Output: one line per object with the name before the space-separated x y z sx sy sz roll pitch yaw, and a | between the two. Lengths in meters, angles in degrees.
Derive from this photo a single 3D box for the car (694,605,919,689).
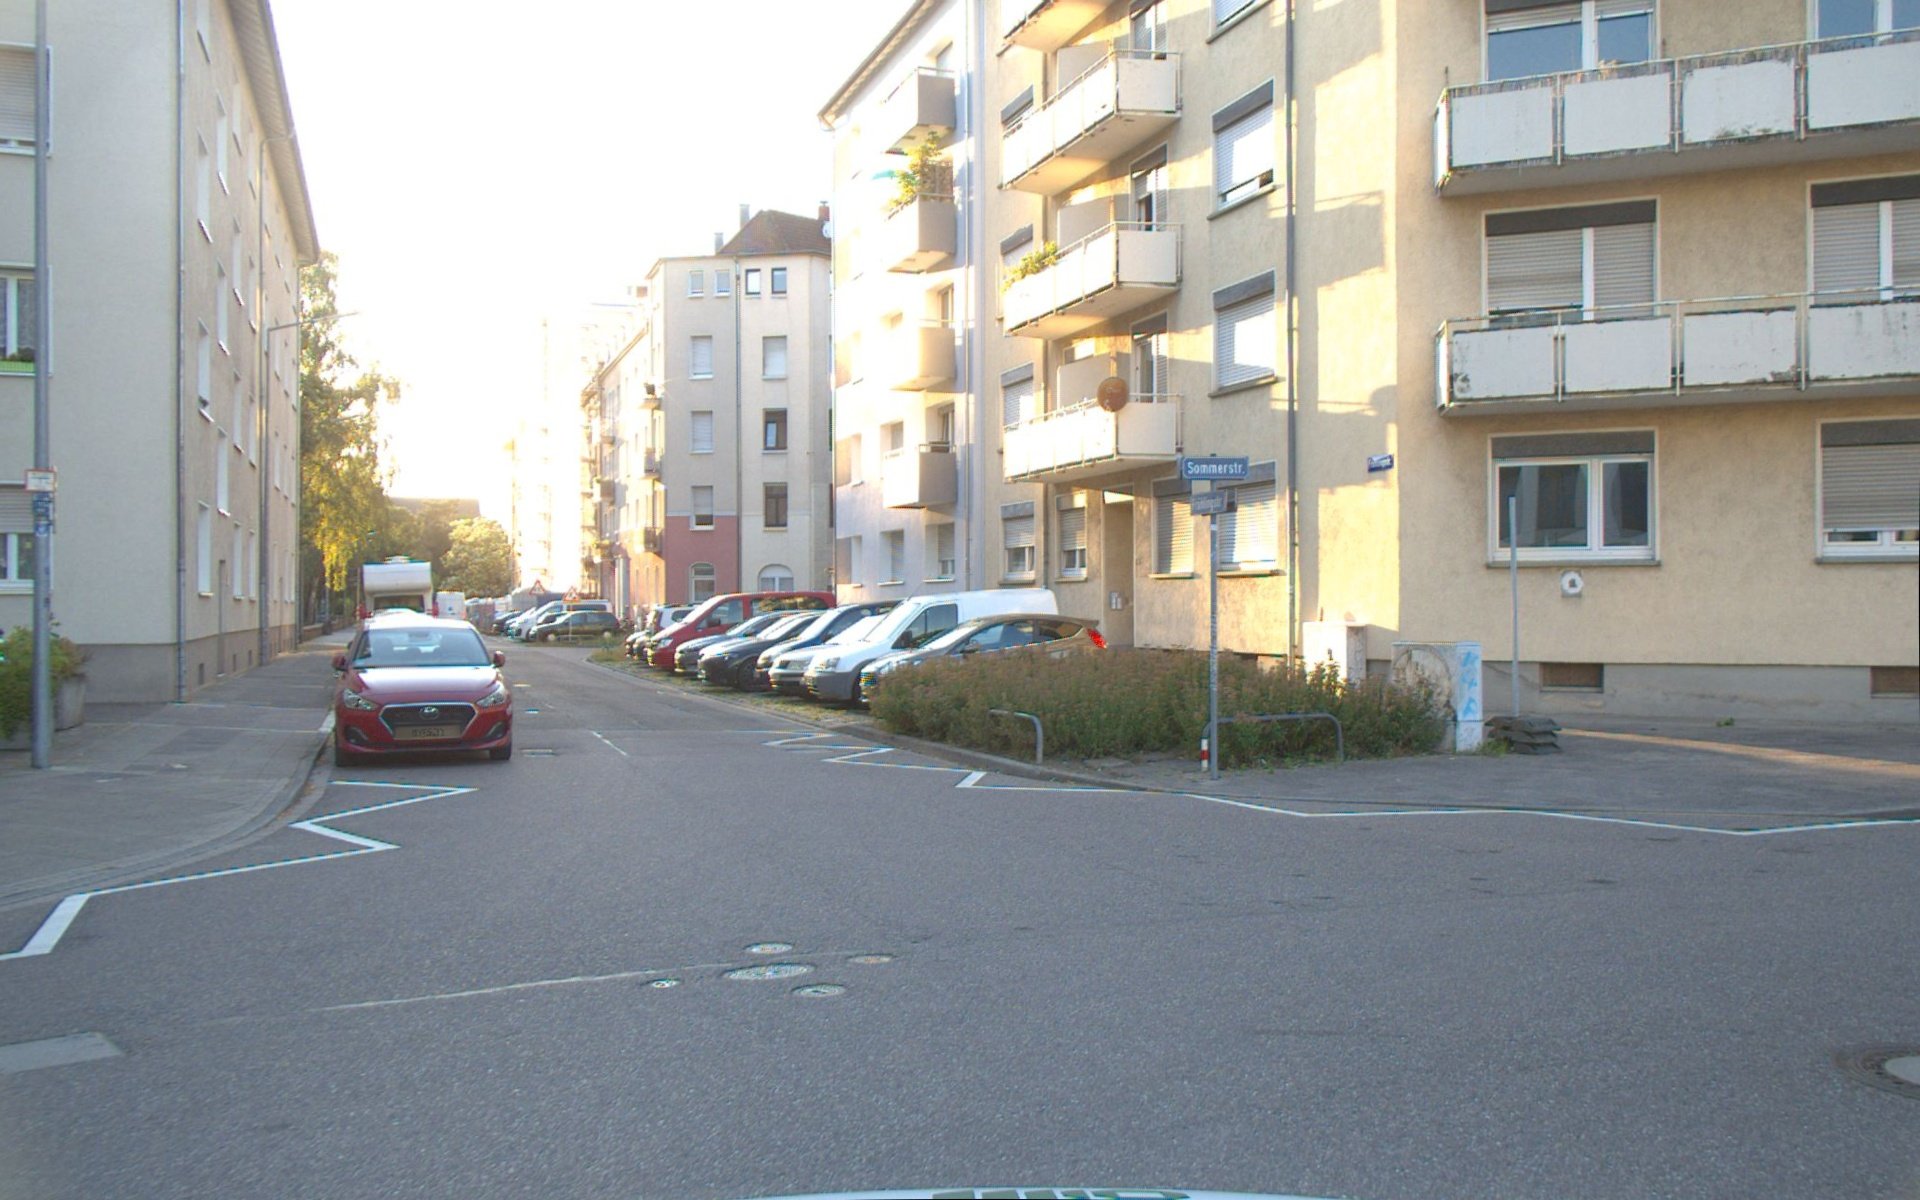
car | -3.098 0.915 33.318 4.244 1.475 1.646 -2 0 -20

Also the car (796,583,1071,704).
car | -0.447 0.688 27.308 4.215 1.893 1.731 0 -1 -20

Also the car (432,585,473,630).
car | -32.184 0.484 104.786 2.098 2.765 4.803 -2 0 -21

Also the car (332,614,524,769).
car | -5.974 0.912 18.338 1.818 1.499 4.053 0 0 -21

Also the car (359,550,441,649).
car | -20.599 0.001 60.917 2.580 3.326 7.655 -2 0 -19

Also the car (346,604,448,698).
car | -10.060 0.865 29.421 1.592 1.499 3.483 -2 0 -21

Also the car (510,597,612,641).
car | -19.665 0.909 81.538 4.743 2.002 1.728 -2 0 -20

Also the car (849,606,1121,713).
car | 0.372 0.865 25.287 3.814 1.518 1.732 0 -1 -20

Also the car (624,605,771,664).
car | -7.285 0.953 45.845 3.756 1.453 1.625 -2 0 -21

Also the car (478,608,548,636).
car | -26.943 1.293 99.648 3.929 1.557 1.649 -2 0 -20

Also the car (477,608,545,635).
car | -27.598 1.306 101.620 3.929 1.557 1.649 -2 0 -20

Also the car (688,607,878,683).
car | -3.857 0.958 36.064 3.820 1.441 1.626 -2 0 -22

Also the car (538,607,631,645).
car | -17.038 1.160 75.104 3.929 1.557 1.649 -2 0 -20

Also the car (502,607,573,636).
car | -25.026 1.253 97.890 3.929 1.557 1.649 -2 0 -20

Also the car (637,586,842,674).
car | -5.458 0.716 40.843 4.653 1.943 2.047 -2 0 -21

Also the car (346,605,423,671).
car | -13.846 0.883 39.688 1.629 1.460 3.772 -2 0 -21

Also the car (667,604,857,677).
car | -4.604 0.914 38.436 4.085 1.496 1.626 -2 0 -21

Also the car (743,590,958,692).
car | -2.092 0.759 31.399 3.734 1.725 1.646 -2 0 -20

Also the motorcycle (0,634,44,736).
motorcycle | -11.523 0.954 18.569 2.084 1.124 0.559 0 -1 -8

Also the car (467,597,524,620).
car | -34.050 0.623 121.266 3.929 1.557 1.649 -2 0 -20

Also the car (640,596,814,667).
car | -6.153 0.817 43.658 4.261 1.666 1.807 -2 0 -21

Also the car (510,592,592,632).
car | -21.610 0.646 87.365 3.933 2.049 1.986 0 -1 -24

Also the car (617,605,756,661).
car | -7.984 0.952 48.256 3.756 1.453 1.625 -2 0 -21

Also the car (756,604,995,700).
car | -1.506 0.879 29.120 3.896 1.549 1.696 -1 0 -20

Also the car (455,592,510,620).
car | -44.164 0.522 152.966 4.743 2.450 1.728 -2 0 -20
